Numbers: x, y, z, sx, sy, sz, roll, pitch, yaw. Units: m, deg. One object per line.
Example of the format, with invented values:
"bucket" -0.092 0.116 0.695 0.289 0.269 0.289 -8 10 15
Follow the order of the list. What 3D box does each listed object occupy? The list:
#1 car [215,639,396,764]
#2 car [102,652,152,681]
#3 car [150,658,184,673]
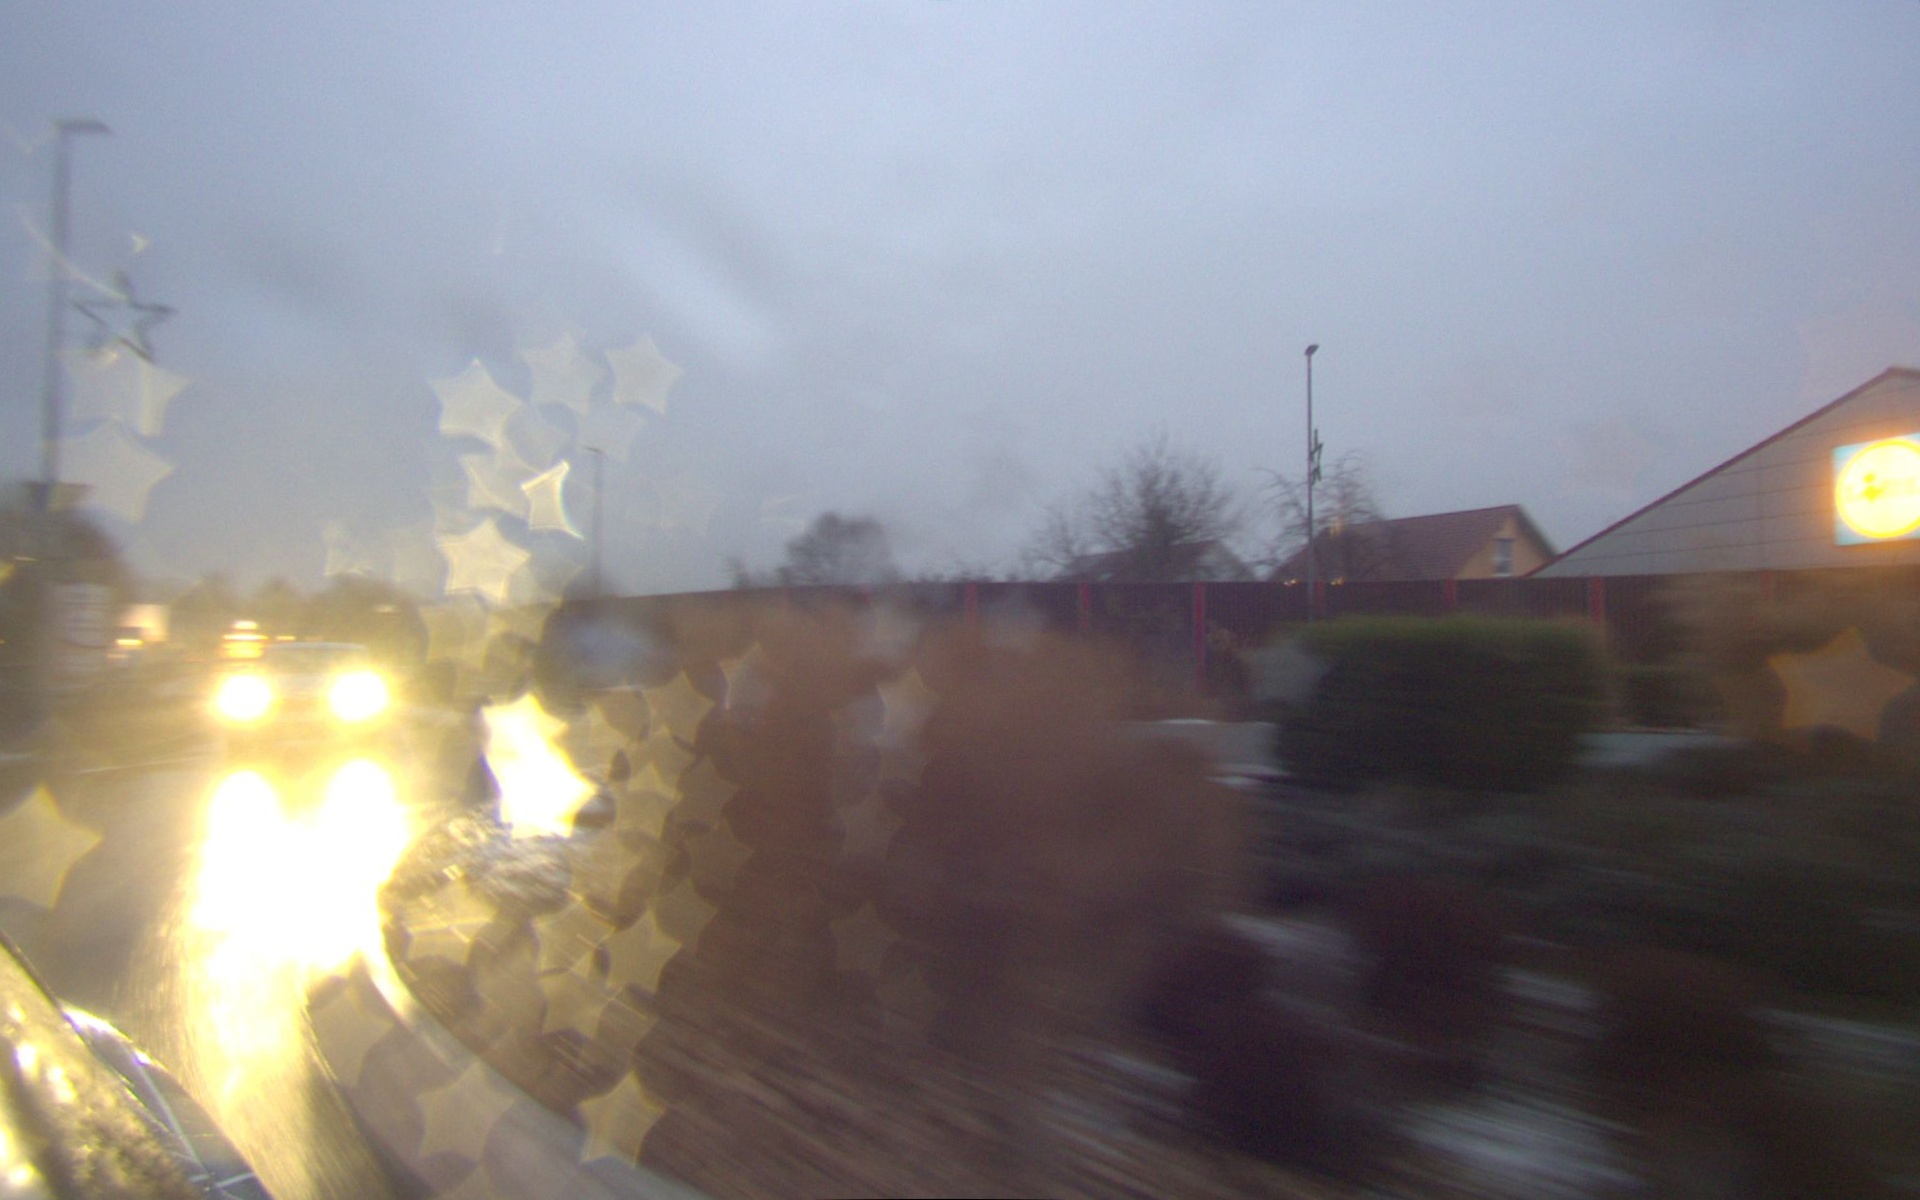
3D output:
"car" -9.833 1.415 15.526 1.779 1.472 4.260 0 0 -25
"car" -76.707 6.099 93.148 5.229 2.458 2.253 -1 -4 36
"car" -78.164 6.459 99.733 4.009 1.423 1.692 -1 -4 39
